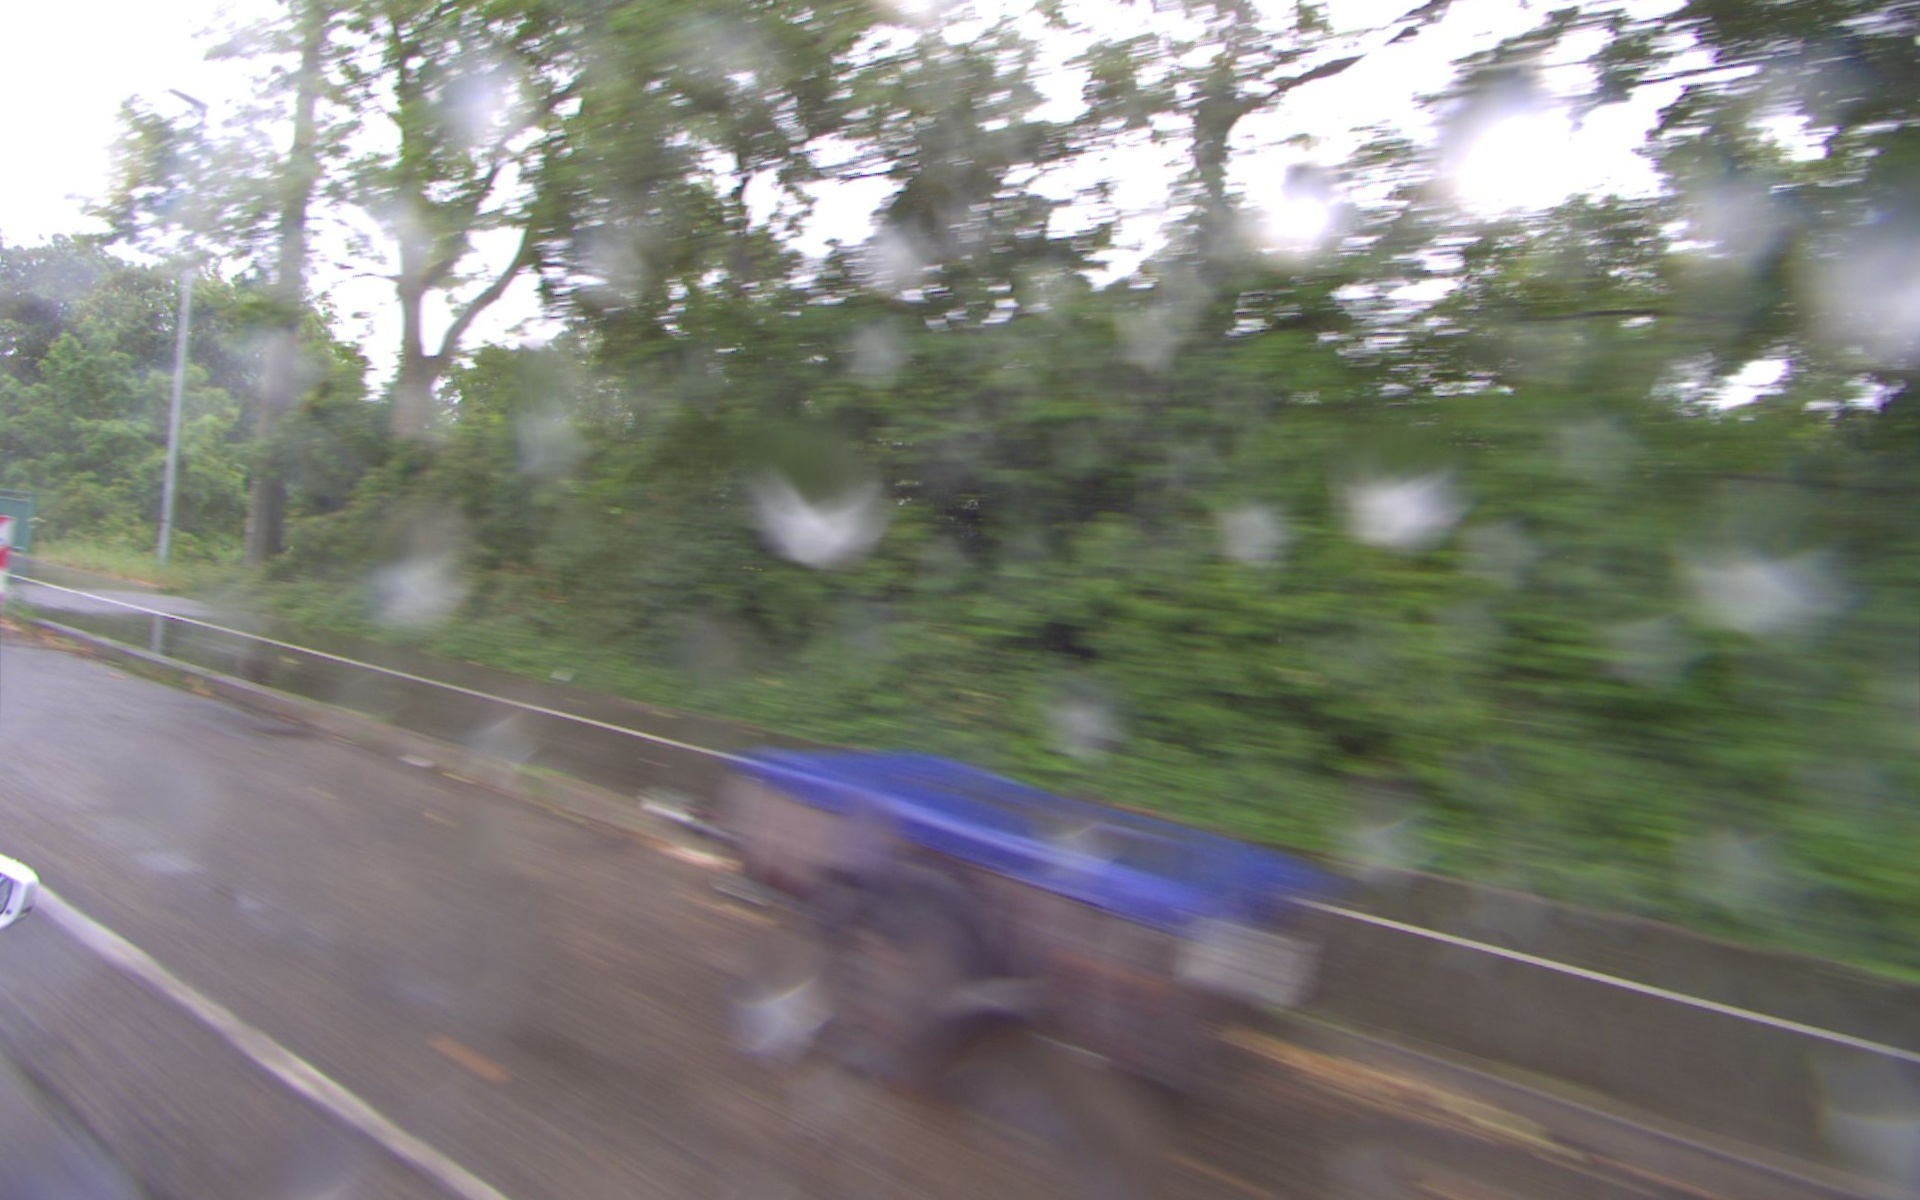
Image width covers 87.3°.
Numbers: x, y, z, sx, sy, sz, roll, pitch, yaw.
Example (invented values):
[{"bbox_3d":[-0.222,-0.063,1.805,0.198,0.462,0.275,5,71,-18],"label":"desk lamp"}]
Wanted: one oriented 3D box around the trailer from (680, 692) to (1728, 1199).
[{"bbox_3d":[0.617,1.134,3.687,3.391,1.058,1.377,6,-2,39],"label":"trailer"}]
